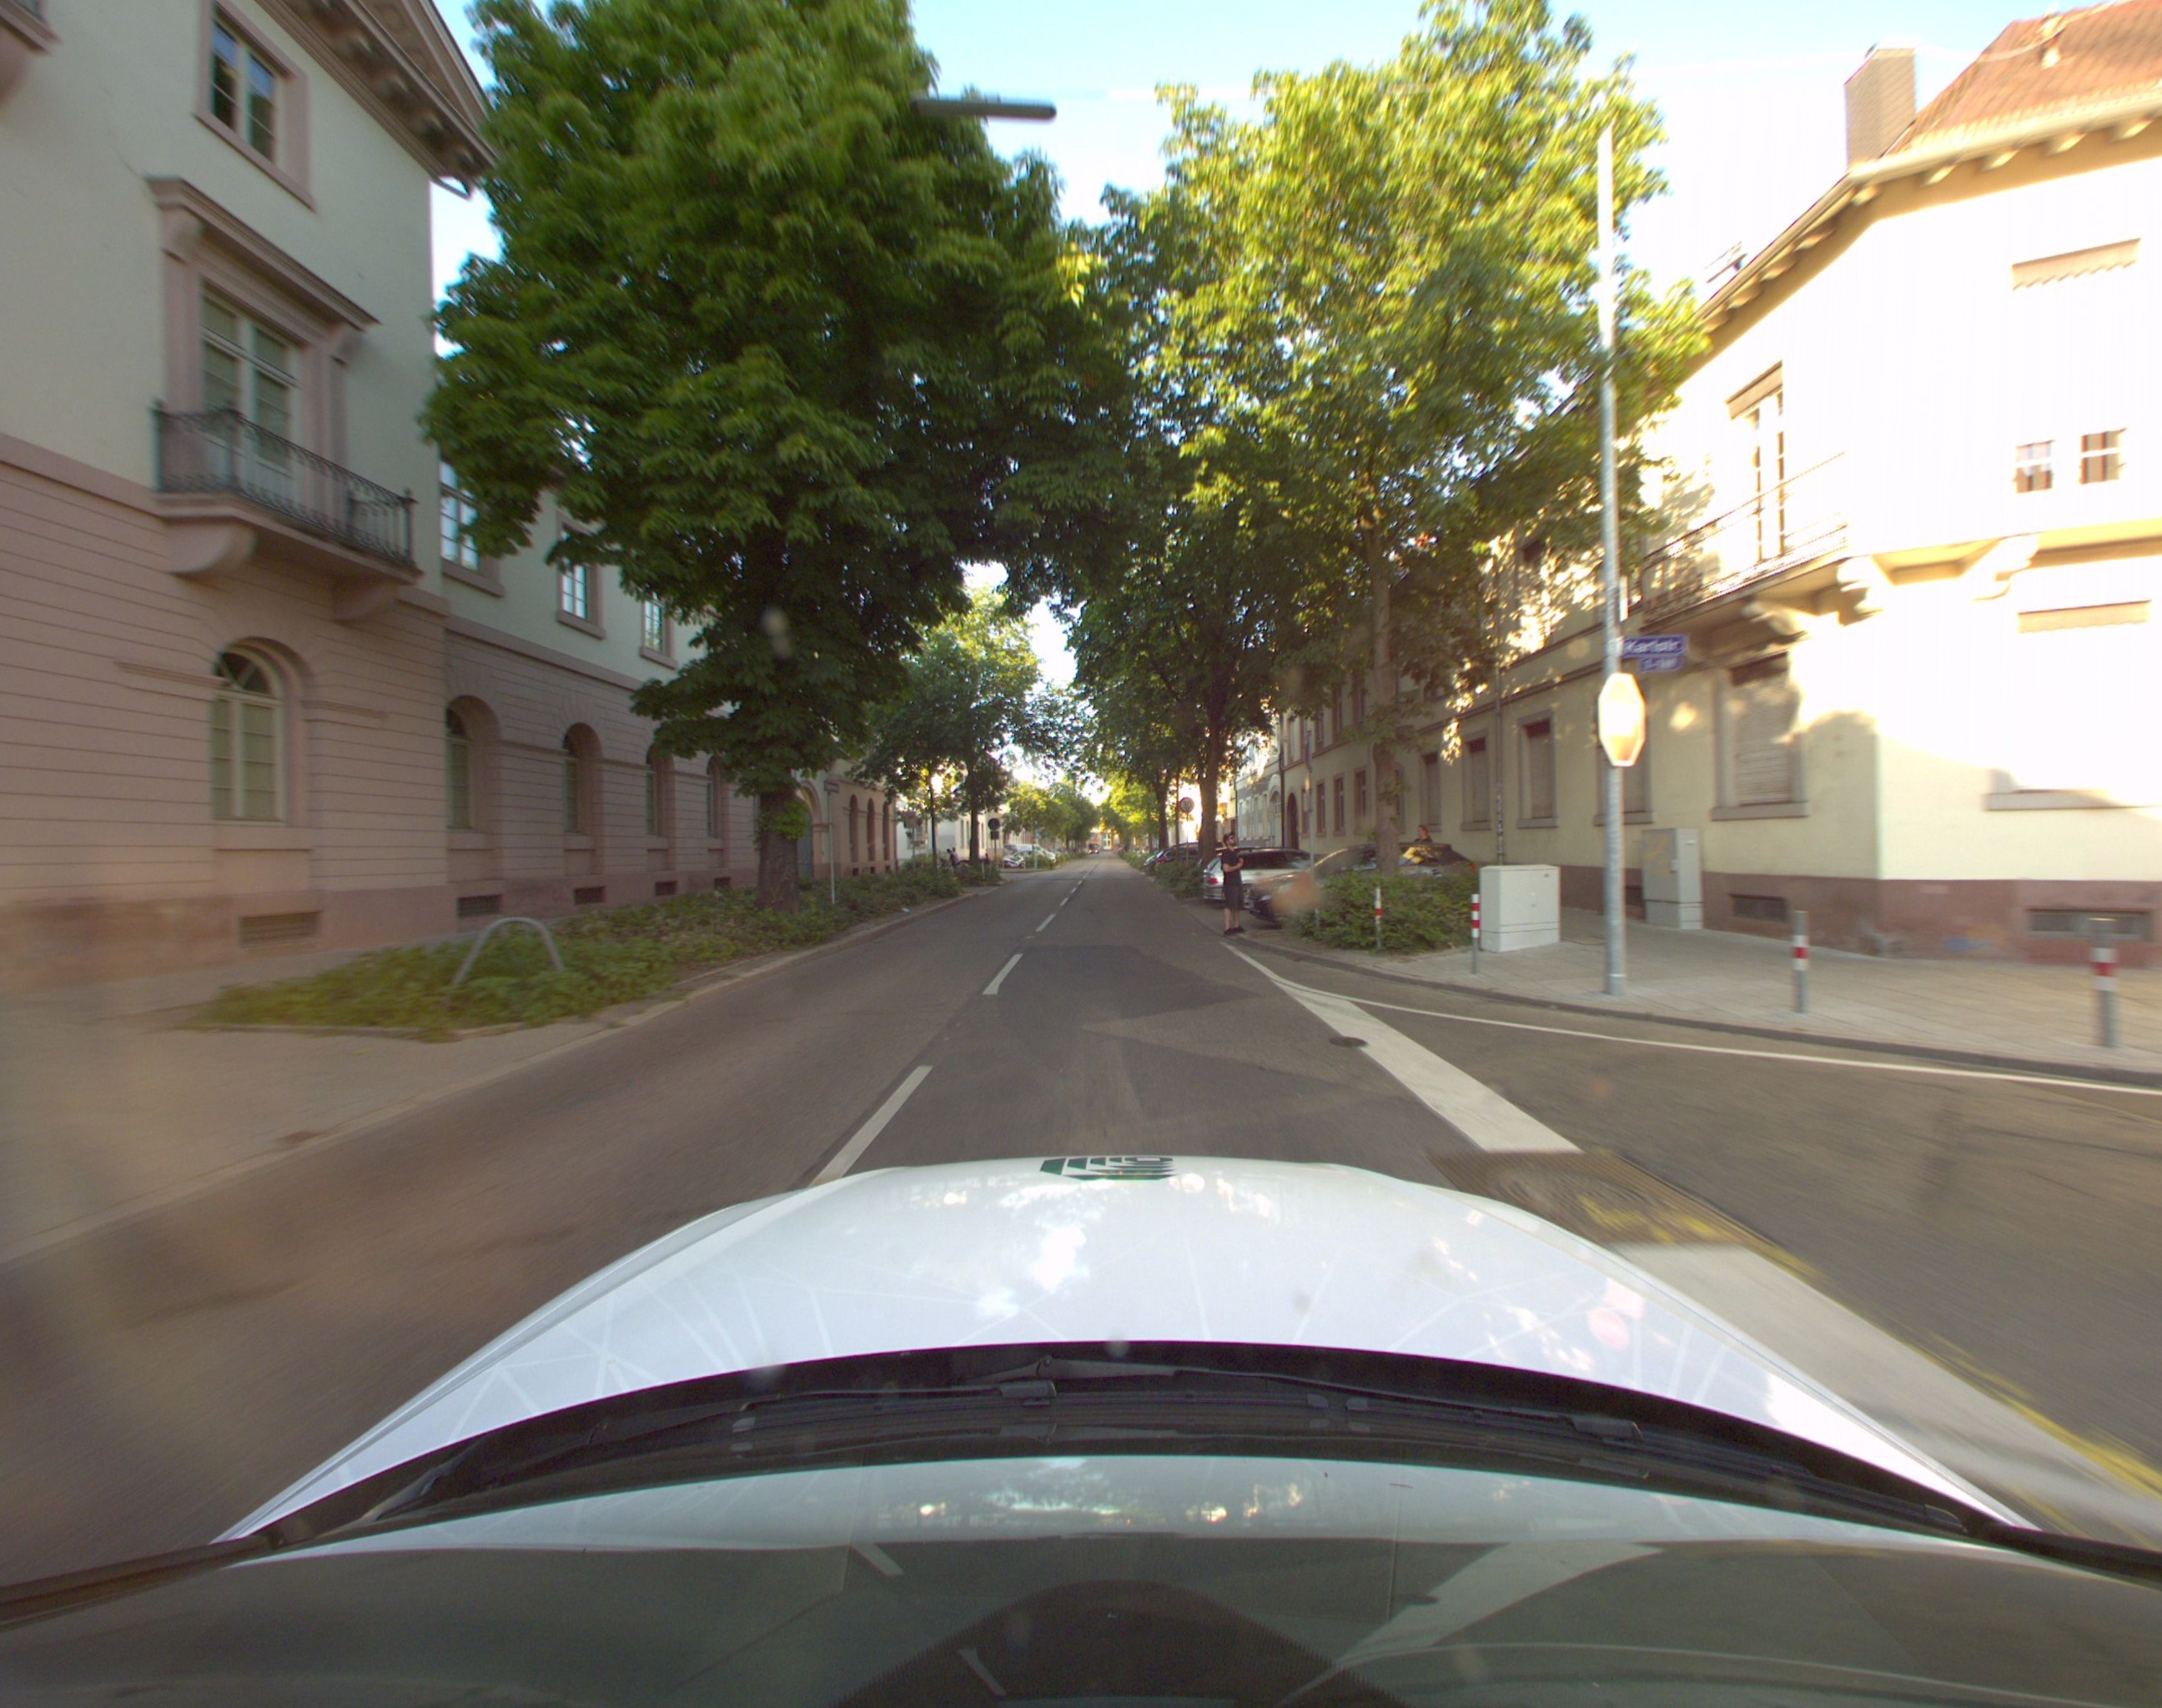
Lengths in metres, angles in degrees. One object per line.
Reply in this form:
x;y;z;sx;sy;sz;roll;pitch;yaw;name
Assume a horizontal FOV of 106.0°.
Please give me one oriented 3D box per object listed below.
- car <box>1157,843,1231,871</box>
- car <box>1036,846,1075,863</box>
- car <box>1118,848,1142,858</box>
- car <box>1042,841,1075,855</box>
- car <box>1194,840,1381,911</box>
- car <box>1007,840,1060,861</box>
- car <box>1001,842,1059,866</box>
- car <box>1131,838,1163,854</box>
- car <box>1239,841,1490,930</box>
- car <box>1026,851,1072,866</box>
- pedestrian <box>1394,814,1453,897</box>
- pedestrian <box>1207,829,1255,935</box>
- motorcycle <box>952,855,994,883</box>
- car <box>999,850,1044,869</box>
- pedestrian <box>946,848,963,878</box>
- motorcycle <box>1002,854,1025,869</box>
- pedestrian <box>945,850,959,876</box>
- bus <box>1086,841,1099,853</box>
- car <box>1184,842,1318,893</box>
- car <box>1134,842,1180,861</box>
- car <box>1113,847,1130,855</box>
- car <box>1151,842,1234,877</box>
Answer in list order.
6.427;0.165;46.804;4.001;1.418;1.781;-2;0;0;car
-3.449;0.087;110.819;5.043;2.083;2.265;-2;0;3;car
8.377;-0.165;139.524;3.974;1.442;1.697;-2;0;0;car
-3.488;-0.903;127.740;5.043;2.083;2.265;-2;0;3;car
5.034;0.504;20.303;4.177;1.480;1.853;-3;0;1;car
-4.722;-0.394;82.285;5.042;1.823;2.266;-2;3;3;car
-4.653;-0.003;74.497;5.046;2.083;2.264;-2;0;1;car
8.536;-1.072;104.868;3.968;2.013;2.003;-1;0;5;car
5.193;0.541;15.330;4.094;1.490;1.850;-1;1;0;car
-3.677;0.491;94.557;5.040;1.617;2.266;-2;0;5;car
7.209;0.018;17.175;0.939;1.706;0.783;-1;1;3;pedestrian
2.731;0.507;14.897;0.790;1.869;0.753;-1;-2;7;pedestrian
-5.212;0.726;39.292;1.912;1.258;0.591;-1;0;1;motorcycle
-5.003;0.476;69.109;3.716;1.508;1.872;-2;0;-2;car
-7.094;0.492;45.772;0.714;1.664;0.839;-2;0;4;pedestrian
-4.948;0.579;59.907;1.630;1.068;0.656;-1;0;1;motorcycle
-7.083;0.494;44.873;0.652;1.395;0.608;0;0;1;pedestrian
3.122;-1.937;232.132;3.022;3.190;9.391;-1;1;-3;bus
5.442;0.409;26.422;4.001;1.480;1.781;-2;0;0;car
7.833;-0.258;84.367;4.574;1.761;2.223;-2;0;2;car
10.344;-0.709;206.944;3.963;1.837;2.005;-1;0;9;car
5.620;0.258;41.366;4.001;1.623;1.781;-2;0;0;car
